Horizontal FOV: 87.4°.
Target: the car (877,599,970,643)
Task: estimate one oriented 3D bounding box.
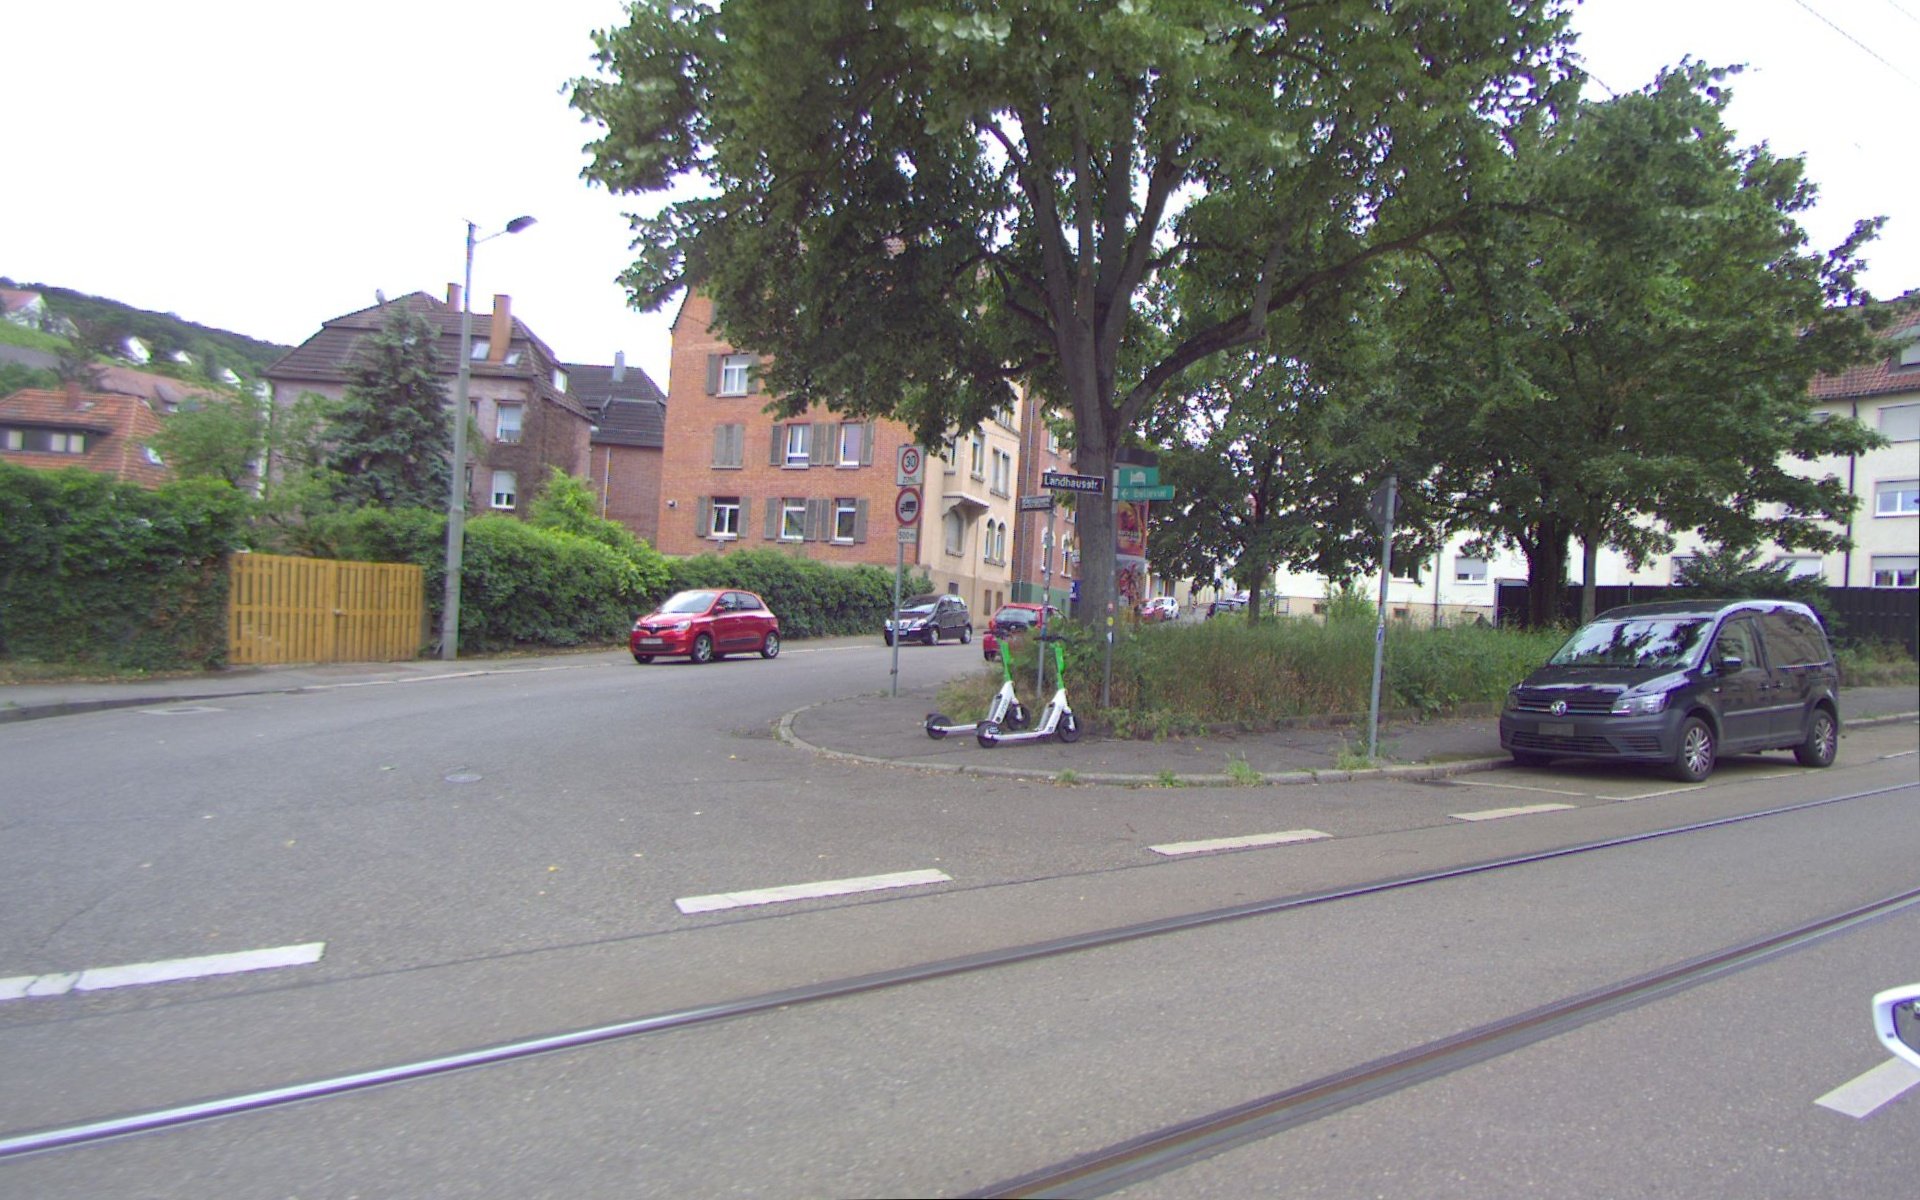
[{"bbox_3d":[-1.096,0.631,31.764,1.429,1.252,3.778,2,1,23],"label":"car"}]

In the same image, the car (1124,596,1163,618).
[{"bbox_3d":[10.922,0.392,59.535,1.429,1.252,3.778,2,1,23],"label":"car"}]

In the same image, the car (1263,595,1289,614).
[{"bbox_3d":[26.762,0.367,84.929,1.644,1.434,3.728,2,1,24],"label":"car"}]

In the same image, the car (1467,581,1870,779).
[{"bbox_3d":[7.843,0.804,11.028,4.611,1.798,1.755,1,-3,-29],"label":"car"}]

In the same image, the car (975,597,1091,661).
[{"bbox_3d":[1.936,0.679,25.764,1.622,1.434,3.726,2,1,27],"label":"car"}]

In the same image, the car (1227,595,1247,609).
[{"bbox_3d":[27.628,0.189,100.082,1.429,1.252,3.419,2,1,23],"label":"car"}]

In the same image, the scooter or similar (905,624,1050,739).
[{"bbox_3d":[0.214,0.871,11.157,1.697,1.161,0.310,-1,2,-30],"label":"scooter or similar"}]

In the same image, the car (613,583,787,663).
[{"bbox_3d":[-5.447,0.445,21.480,1.716,1.497,3.611,2,1,23],"label":"car"}]

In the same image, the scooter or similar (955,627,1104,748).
[{"bbox_3d":[0.751,0.894,10.626,1.697,1.161,0.310,-1,2,-30],"label":"scooter or similar"}]

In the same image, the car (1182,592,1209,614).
[{"bbox_3d":[18.548,0.261,78.952,1.429,1.498,3.780,2,-1,23],"label":"car"}]

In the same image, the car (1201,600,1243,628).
[{"bbox_3d":[14.717,0.757,56.310,1.644,1.434,3.728,2,1,24],"label":"car"}]
